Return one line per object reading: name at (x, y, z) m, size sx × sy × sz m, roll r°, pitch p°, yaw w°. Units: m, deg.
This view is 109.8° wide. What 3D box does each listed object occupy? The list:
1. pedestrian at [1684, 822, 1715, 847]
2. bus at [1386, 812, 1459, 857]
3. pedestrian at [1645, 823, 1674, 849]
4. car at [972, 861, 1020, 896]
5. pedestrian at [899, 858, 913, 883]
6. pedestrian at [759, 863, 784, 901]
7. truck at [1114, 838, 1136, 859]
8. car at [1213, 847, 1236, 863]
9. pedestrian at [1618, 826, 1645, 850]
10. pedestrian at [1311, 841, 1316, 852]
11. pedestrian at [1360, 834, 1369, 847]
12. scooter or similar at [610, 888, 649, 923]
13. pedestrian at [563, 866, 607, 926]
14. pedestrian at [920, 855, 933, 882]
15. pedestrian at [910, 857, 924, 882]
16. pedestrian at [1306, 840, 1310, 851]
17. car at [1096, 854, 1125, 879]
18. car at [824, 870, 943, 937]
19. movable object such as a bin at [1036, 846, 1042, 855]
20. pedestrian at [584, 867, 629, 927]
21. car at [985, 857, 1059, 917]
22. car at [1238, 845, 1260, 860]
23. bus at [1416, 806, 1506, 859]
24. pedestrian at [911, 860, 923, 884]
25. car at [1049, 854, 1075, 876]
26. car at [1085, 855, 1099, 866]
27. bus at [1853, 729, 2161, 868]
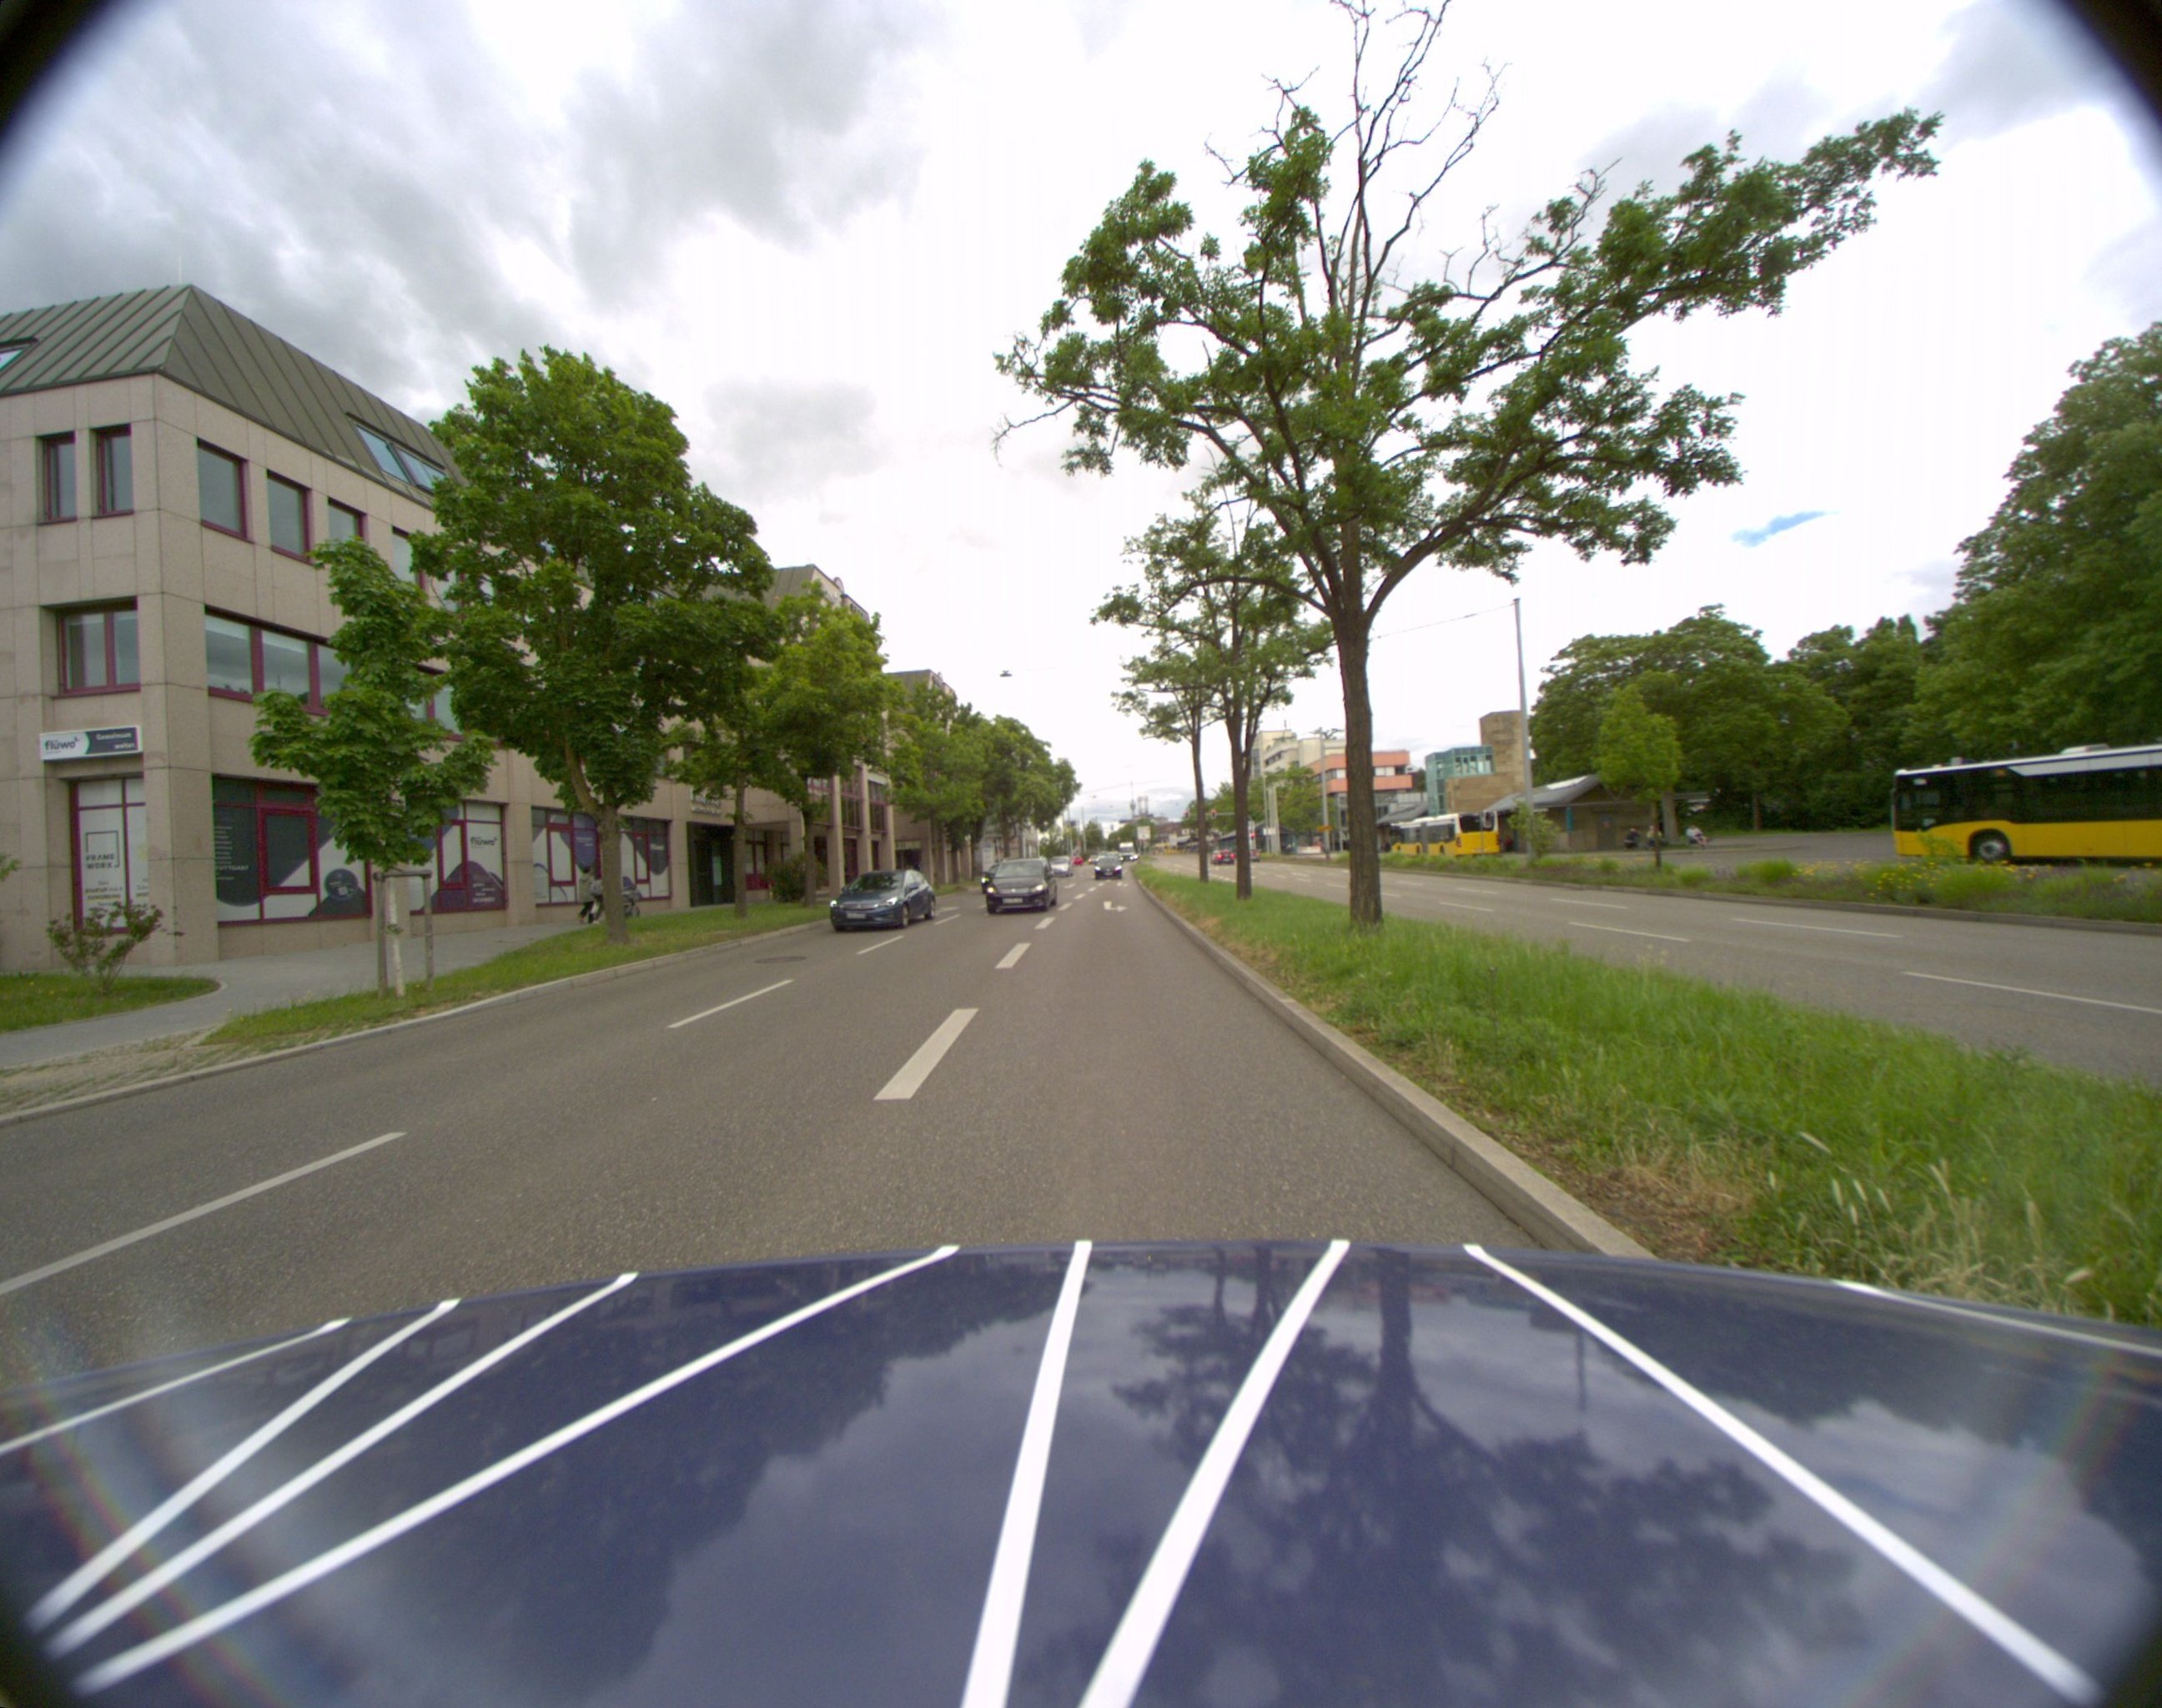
pedestrian at (31.854, -1.007, 39.142) m, size 0.895 × 1.247 × 0.858 m, roll -3°, pitch 1°, yaw 2°
bus at (27.501, -1.511, 61.668) m, size 2.781 × 3.113 × 9.444 m, roll -5°, pitch 0°, yaw 9°
pedestrian at (30.354, -0.933, 39.878) m, size 0.859 × 1.283 × 0.894 m, roll -3°, pitch 1°, yaw -22°
car at (-4.132, 1.143, 37.404) m, size 1.768 × 1.440 × 4.420 m, roll -3°, pitch 1°, yaw 0°
pedestrian at (-12.014, 1.129, 52.114) m, size 0.659 × 1.681 × 0.843 m, roll -1°, pitch 1°, yaw 6°
pedestrian at (-14.133, 1.260, 34.688) m, size 0.596 × 1.695 × 0.970 m, roll -3°, pitch 1°, yaw 6°
truck at (7.261, -0.884, 125.496) m, size 3.118 × 3.209 × 6.523 m, roll -4°, pitch 1°, yaw 1°
car at (14.588, 0.075, 77.465) m, size 1.662 × 1.499 × 3.769 m, roll -3°, pitch 1°, yaw 2°
pedestrian at (30.447, -0.897, 42.034) m, size 0.859 × 1.247 × 0.894 m, roll -3°, pitch 1°, yaw -27°
pedestrian at (32.136, -1.016, 105.156) m, size 0.485 × 1.539 × 0.383 m, roll -3°, pitch 1°, yaw -6°
pedestrian at (33.569, -1.609, 89.975) m, size 0.990 × 1.452 × 0.592 m, roll -3°, pitch 1°, yaw 18°
scooter or similar at (-13.512, 1.528, 22.758) m, size 0.585 × 0.988 × 0.847 m, roll -1°, pitch 1°, yaw 7°
pedestrian at (-14.430, 1.208, 22.123) m, size 0.568 × 1.690 × 0.829 m, roll -3°, pitch 1°, yaw 6°
pedestrian at (-10.562, 1.017, 51.963) m, size 0.659 × 1.815 × 0.843 m, roll -1°, pitch 1°, yaw 6°
pedestrian at (-11.273, 1.072, 52.135) m, size 0.659 × 1.681 × 0.843 m, roll -1°, pitch 1°, yaw 6°
pedestrian at (31.473, -1.222, 105.374) m, size 0.529 × 1.539 × 0.754 m, roll -3°, pitch 1°, yaw 18°
car at (2.002, 0.805, 50.790) m, size 1.763 × 1.531 × 4.048 m, roll -2°, pitch 0°, yaw 3°
car at (-4.984, 1.196, 19.806) m, size 1.972 × 1.431 × 4.312 m, roll -1°, pitch 0°, yaw 0°
movable object such as a bin at (-5.122, -0.456, 93.097) m, size 0.627 × 1.098 × 0.710 m, roll -3°, pitch 1°, yaw 5°
pedestrian at (-13.627, 1.215, 21.848) m, size 0.556 × 1.643 × 0.962 m, roll -1°, pitch 1°, yaw 7°
car at (-1.738, 0.959, 23.885) m, size 1.972 × 1.631 × 4.312 m, roll -2°, pitch 0°, yaw 0°
car at (18.416, -0.138, 83.488) m, size 1.819 × 1.499 × 4.001 m, roll -3°, pitch 1°, yaw 6°
bus at (25.970, -1.409, 52.531) m, size 2.814 × 3.113 × 9.306 m, roll -5°, pitch 0°, yaw 10°
pedestrian at (-10.838, 1.172, 50.255) m, size 0.562 × 1.541 × 0.544 m, roll -1°, pitch 1°, yaw 5°
car at (-1.503, 0.833, 61.279) m, size 1.763 × 1.625 × 4.156 m, roll -2°, pitch 0°, yaw 3°
car at (1.897, 1.043, 126.621) m, size 2.020 × 1.760 × 4.001 m, roll -3°, pitch 0°, yaw 3°
bus at (26.129, -1.339, 19.085) m, size 3.090 × 3.144 × 10.740 m, roll -3°, pitch 0°, yaw 4°
